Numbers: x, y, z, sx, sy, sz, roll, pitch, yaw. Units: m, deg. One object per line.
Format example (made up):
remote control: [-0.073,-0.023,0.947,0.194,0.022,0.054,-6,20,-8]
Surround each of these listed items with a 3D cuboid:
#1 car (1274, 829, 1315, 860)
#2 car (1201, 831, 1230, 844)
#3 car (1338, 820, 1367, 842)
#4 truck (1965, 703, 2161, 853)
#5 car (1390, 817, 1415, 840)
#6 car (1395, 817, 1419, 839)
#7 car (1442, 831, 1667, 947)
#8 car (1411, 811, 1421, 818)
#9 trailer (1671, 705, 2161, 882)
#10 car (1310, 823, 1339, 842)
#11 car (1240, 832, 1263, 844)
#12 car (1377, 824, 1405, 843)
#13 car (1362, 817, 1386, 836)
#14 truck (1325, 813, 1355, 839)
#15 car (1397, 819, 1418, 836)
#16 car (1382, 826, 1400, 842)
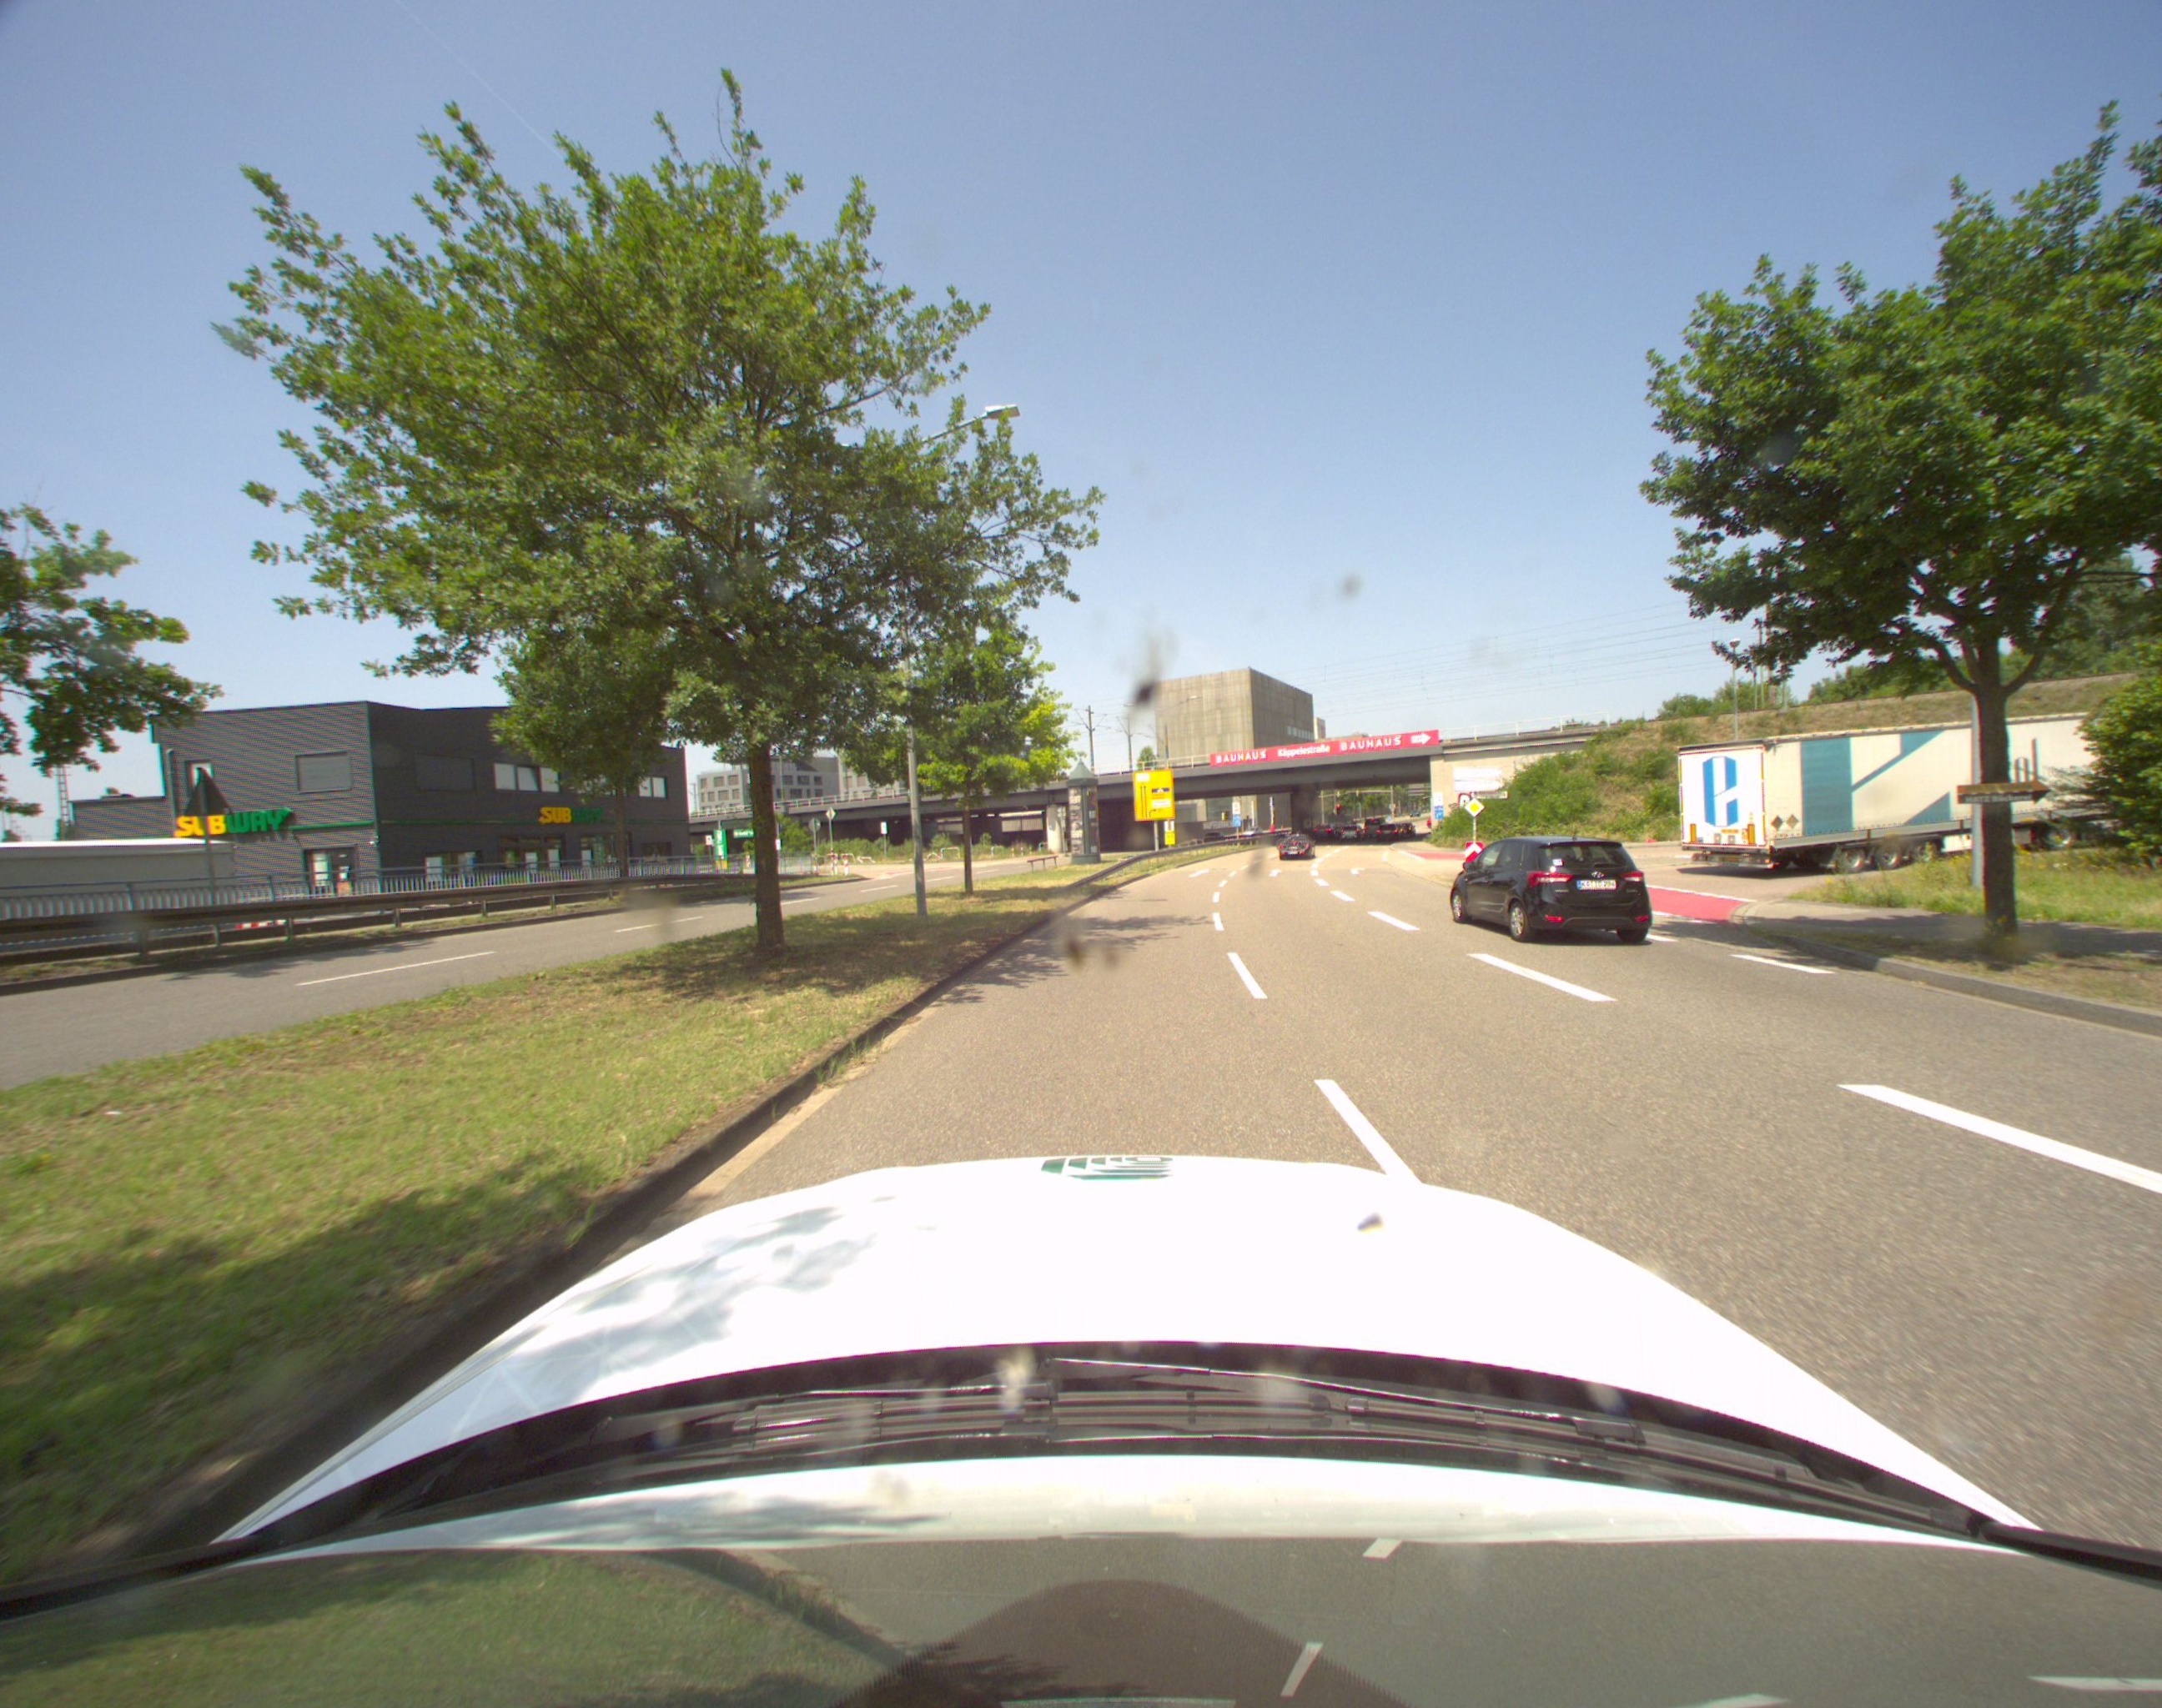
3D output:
car: [12.129,-0.562,46.157,1.941,1.633,4.301,0,1,19]
car: [15.052,-1.878,91.032,1.638,1.379,4.244,-1,1,31]
car: [25.154,-2.142,75.389,1.823,1.890,4.025,-1,1,27]
truck: [32.769,-2.463,26.331,6.064,4.367,3.074,-4,3,-12]
car: [30.349,-2.412,76.864,1.717,2.013,3.821,-4,0,27]
car: [32.700,-2.595,81.668,1.975,2.013,4.023,-4,0,24]
car: [7.466,0.439,13.351,1.757,1.599,4.086,0,1,7]
car: [75.833,-8.939,184.412,1.837,1.622,4.024,-1,1,27]
trailer: [25.347,-1.937,24.684,14.738,4.367,3.076,-4,3,-12]
car: [23.606,-2.058,78.889,1.922,1.721,4.024,-1,1,27]
car: [23.127,-2.176,110.463,1.975,1.441,4.024,-4,-1,28]
car: [27.207,-1.818,71.322,1.823,1.568,4.024,-1,1,27]
car: [30.874,-2.852,85.755,1.823,1.890,4.024,-1,1,27]
truck: [27.243,-2.930,85.527,2.047,2.537,4.026,-3,0,31]
car: [37.375,-3.039,93.082,1.823,1.890,4.024,-1,1,27]
car: [42.189,-2.725,110.870,1.975,2.013,4.024,0,1,26]
